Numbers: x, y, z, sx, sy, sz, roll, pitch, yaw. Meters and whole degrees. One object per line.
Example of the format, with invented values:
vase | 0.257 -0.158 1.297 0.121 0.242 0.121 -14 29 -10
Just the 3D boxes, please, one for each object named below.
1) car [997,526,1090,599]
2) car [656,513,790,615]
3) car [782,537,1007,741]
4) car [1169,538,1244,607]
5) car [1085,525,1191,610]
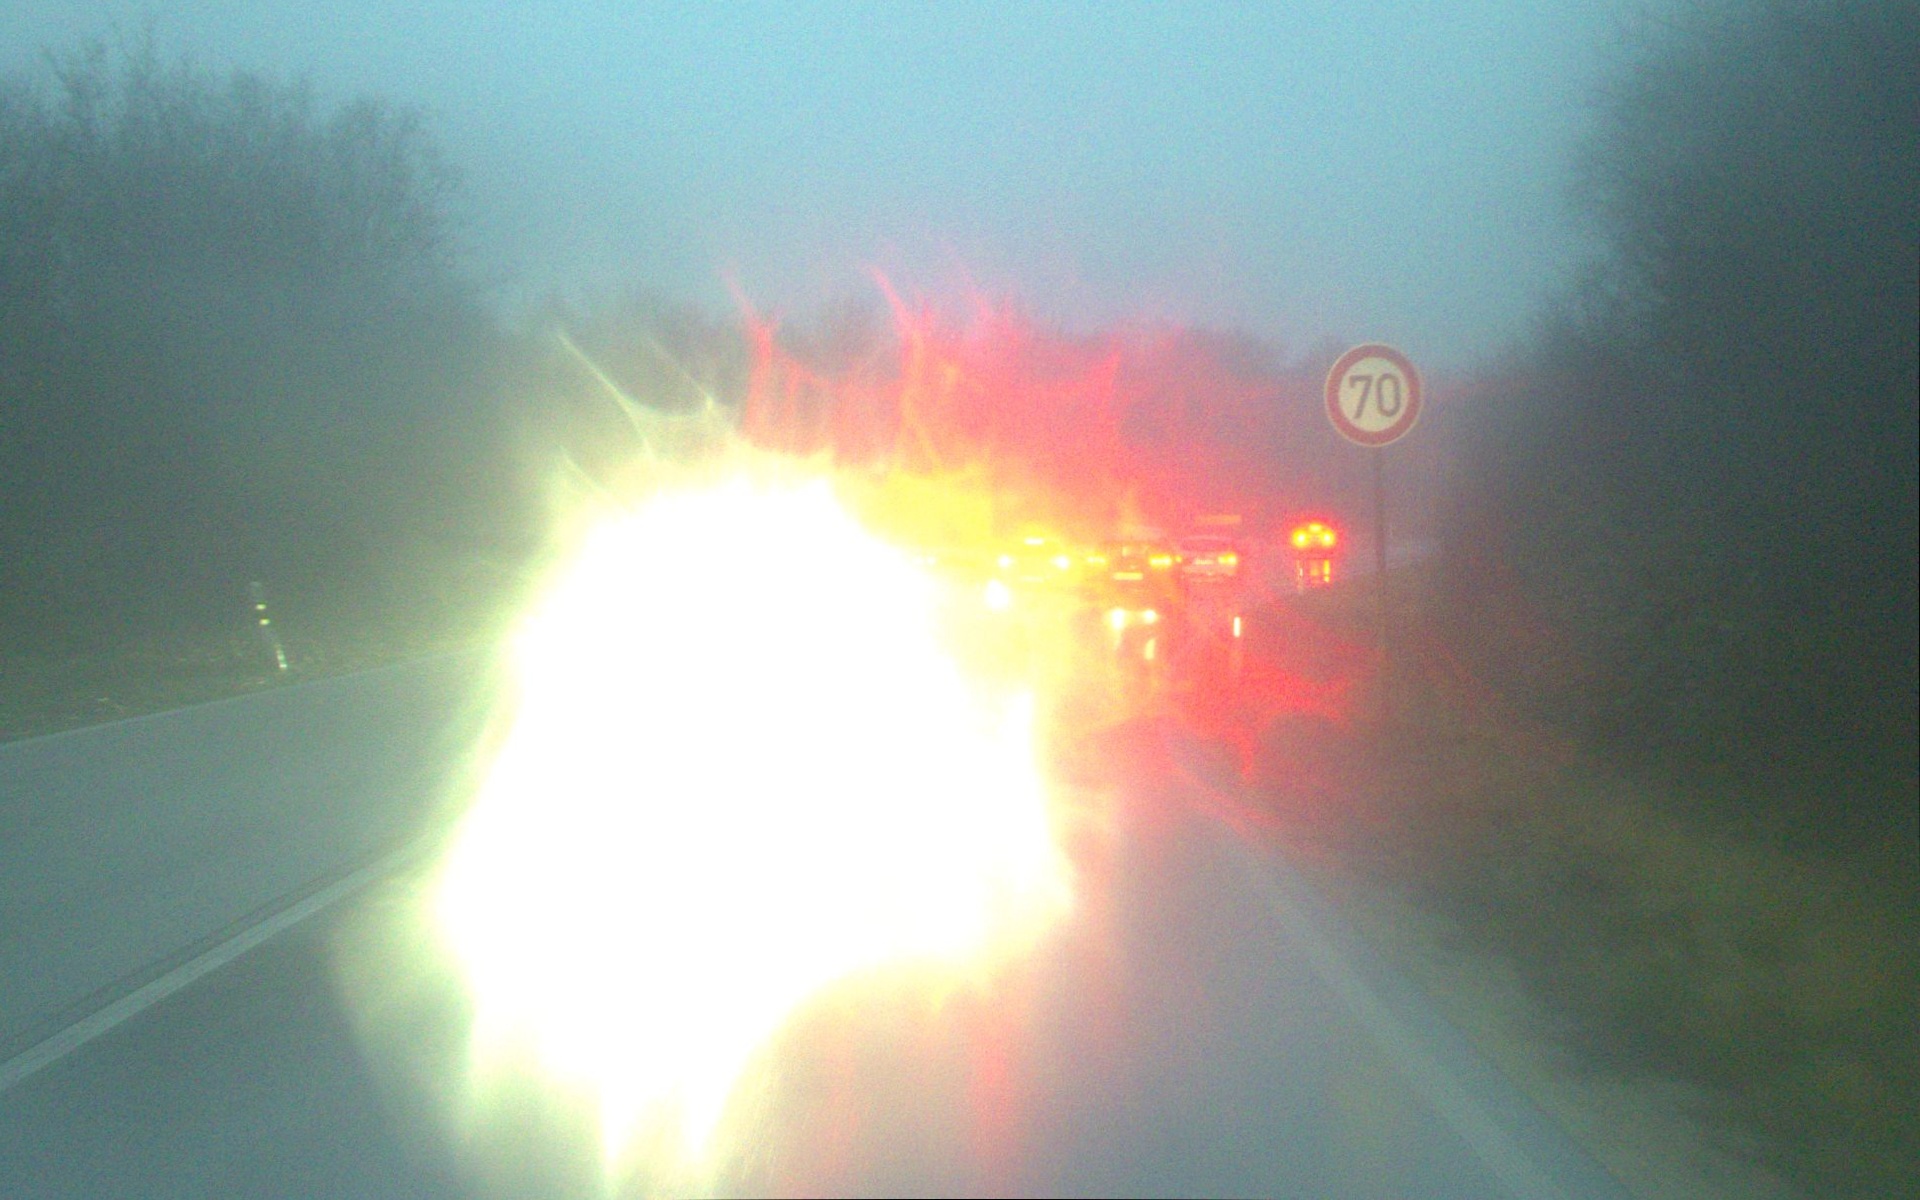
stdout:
car | 1.927 -0.894 80.685 2.005 1.550 4.517 2 2 0
car | -3.699 -0.594 54.199 1.764 1.492 4.103 1 2 0
car | -0.552 0.259 27.977 1.632 1.416 4.172 3 2 -2
car | 6.417 -0.739 89.778 1.678 1.669 4.098 1 2 0
car | 3.151 -0.609 61.576 1.678 1.385 4.098 1 2 0
